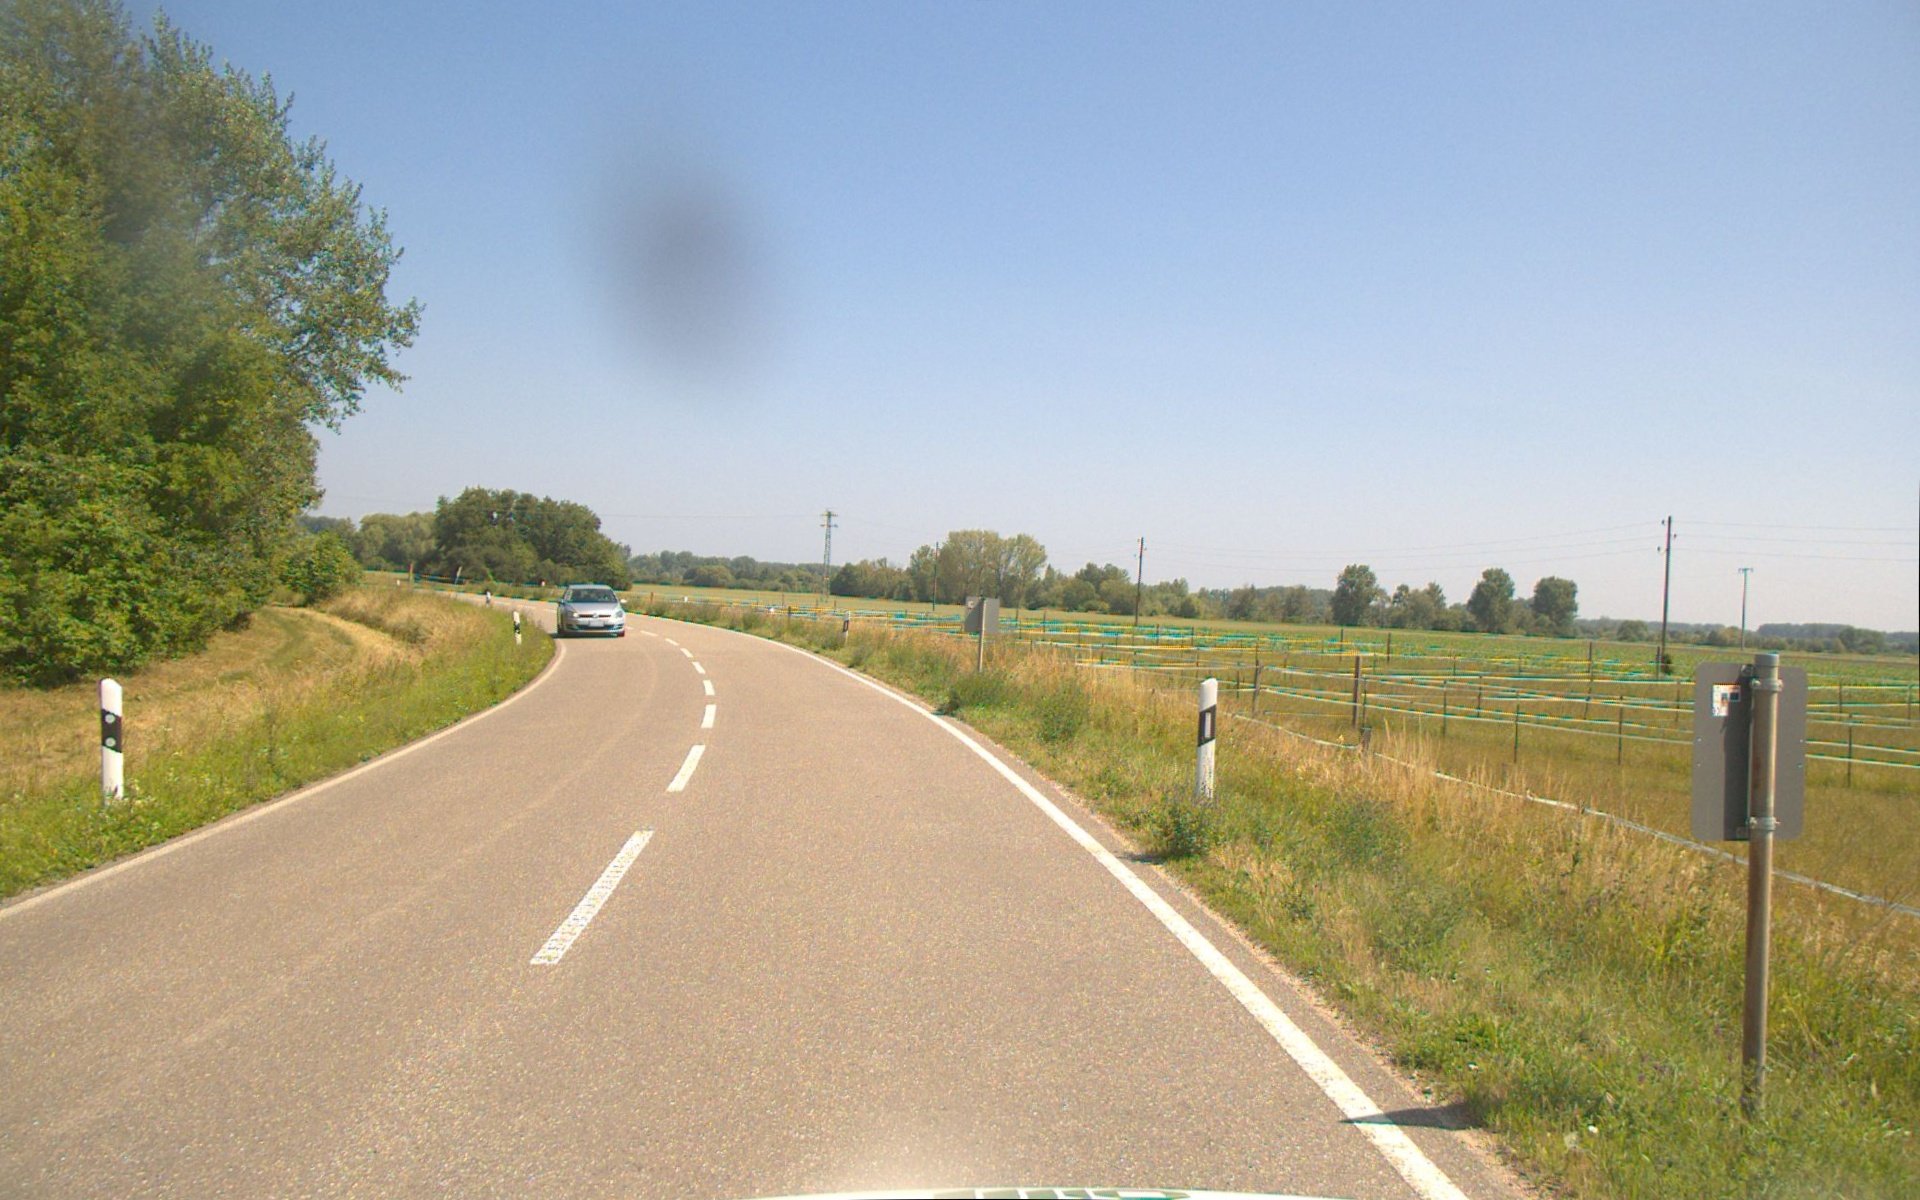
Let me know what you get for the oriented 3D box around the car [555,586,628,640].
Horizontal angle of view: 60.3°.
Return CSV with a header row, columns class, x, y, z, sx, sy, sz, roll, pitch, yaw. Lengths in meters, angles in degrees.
class,x,y,z,sx,sy,sz,roll,pitch,yaw
car,-10.643,0.359,47.664,1.755,1.452,4.041,-1,0,-17
